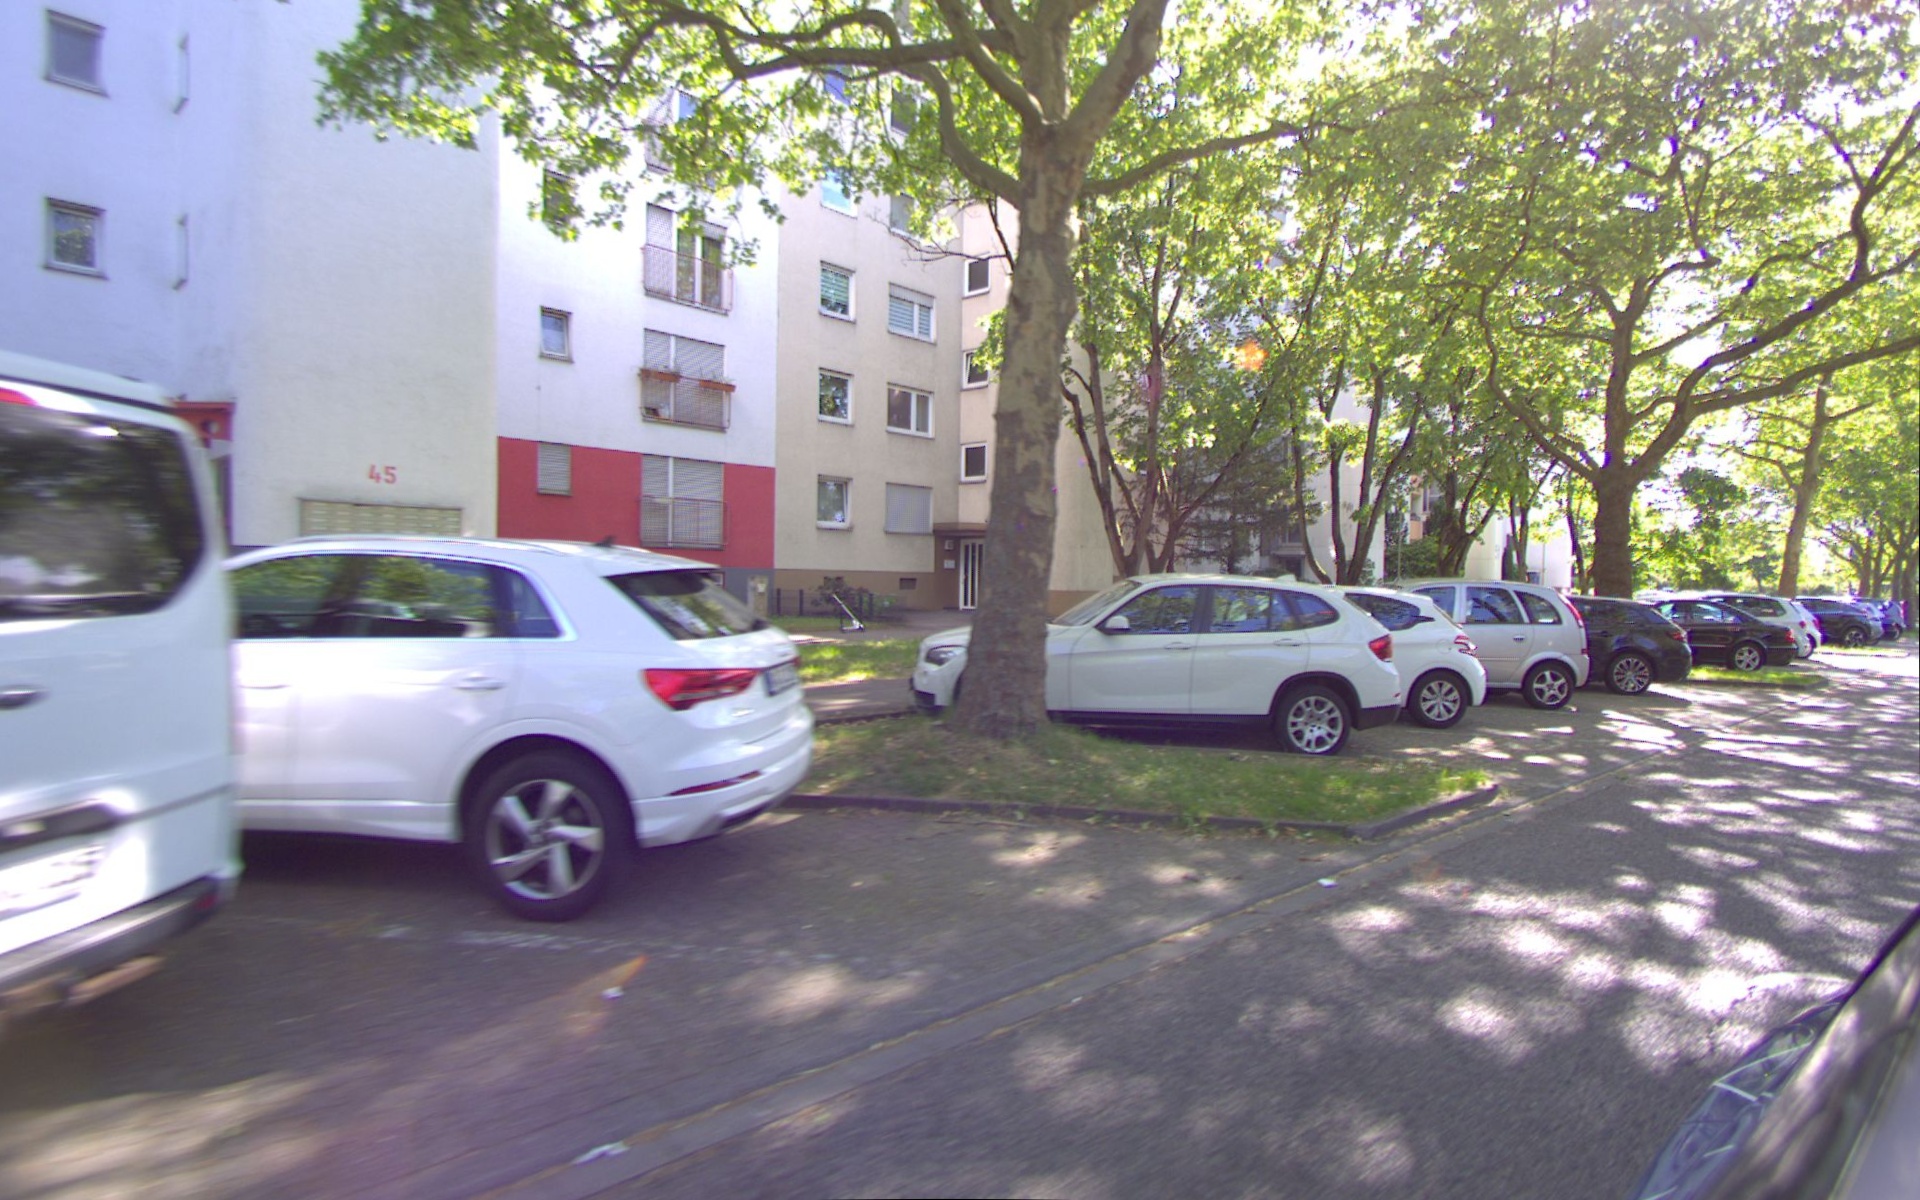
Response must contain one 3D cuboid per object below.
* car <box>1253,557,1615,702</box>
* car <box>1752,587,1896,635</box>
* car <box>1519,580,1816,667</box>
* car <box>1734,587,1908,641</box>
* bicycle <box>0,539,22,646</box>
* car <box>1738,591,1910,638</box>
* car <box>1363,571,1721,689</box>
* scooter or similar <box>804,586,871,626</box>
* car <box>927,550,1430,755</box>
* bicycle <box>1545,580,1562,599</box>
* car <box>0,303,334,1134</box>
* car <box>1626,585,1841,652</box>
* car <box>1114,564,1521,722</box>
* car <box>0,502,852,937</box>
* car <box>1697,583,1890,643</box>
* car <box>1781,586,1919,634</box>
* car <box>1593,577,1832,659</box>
[{"bbox_3d":[6.181,0.317,13.628,3.931,1.609,1.798,3,3,6],"label":"car"},{"bbox_3d":[31.646,0.374,37.162,3.523,1.510,1.797,2,2,7],"label":"car"},{"bbox_3d":[13.964,0.434,20.193,4.507,1.440,1.799,2,2,3],"label":"car"},{"bbox_3d":[27.389,0.415,32.298,3.819,1.463,1.798,2,2,5],"label":"car"},{"bbox_3d":[-11.471,-0.122,11.942,1.795,1.143,0.492,6,4,44],"label":"bicycle"},{"bbox_3d":[29.638,0.473,34.841,4.078,1.334,1.796,3,2,8],"label":"car"},{"bbox_3d":[8.837,0.397,15.784,4.337,1.445,1.947,3,3,9],"label":"car"},{"bbox_3d":[-2.399,0.100,19.937,0.695,0.702,1.370,3,3,23],"label":"scooter or similar"},{"bbox_3d":[1.822,0.398,9.387,4.133,1.528,1.800,3,3,1],"label":"car"},{"bbox_3d":[38.328,-0.679,65.311,0.499,1.120,1.773,8,5,41],"label":"bicycle"},{"bbox_3d":[-4.601,0.193,2.934,4.514,2.077,2.014,3,3,9],"label":"car"},{"bbox_3d":[19.737,0.434,25.986,3.932,1.462,1.797,2,2,8],"label":"car"},{"bbox_3d":[3.865,0.415,11.543,3.928,1.436,1.831,3,3,3],"label":"car"},{"bbox_3d":[-2.715,0.402,5.117,3.987,1.599,1.831,3,3,6],"label":"car"},{"bbox_3d":[24.672,0.345,30.071,4.100,1.529,1.800,2,2,2],"label":"car"},{"bbox_3d":[34.277,0.349,38.970,3.664,1.612,1.797,2,2,8],"label":"car"},{"bbox_3d":[17.167,0.366,23.281,3.933,1.595,1.796,3,2,8],"label":"car"}]
